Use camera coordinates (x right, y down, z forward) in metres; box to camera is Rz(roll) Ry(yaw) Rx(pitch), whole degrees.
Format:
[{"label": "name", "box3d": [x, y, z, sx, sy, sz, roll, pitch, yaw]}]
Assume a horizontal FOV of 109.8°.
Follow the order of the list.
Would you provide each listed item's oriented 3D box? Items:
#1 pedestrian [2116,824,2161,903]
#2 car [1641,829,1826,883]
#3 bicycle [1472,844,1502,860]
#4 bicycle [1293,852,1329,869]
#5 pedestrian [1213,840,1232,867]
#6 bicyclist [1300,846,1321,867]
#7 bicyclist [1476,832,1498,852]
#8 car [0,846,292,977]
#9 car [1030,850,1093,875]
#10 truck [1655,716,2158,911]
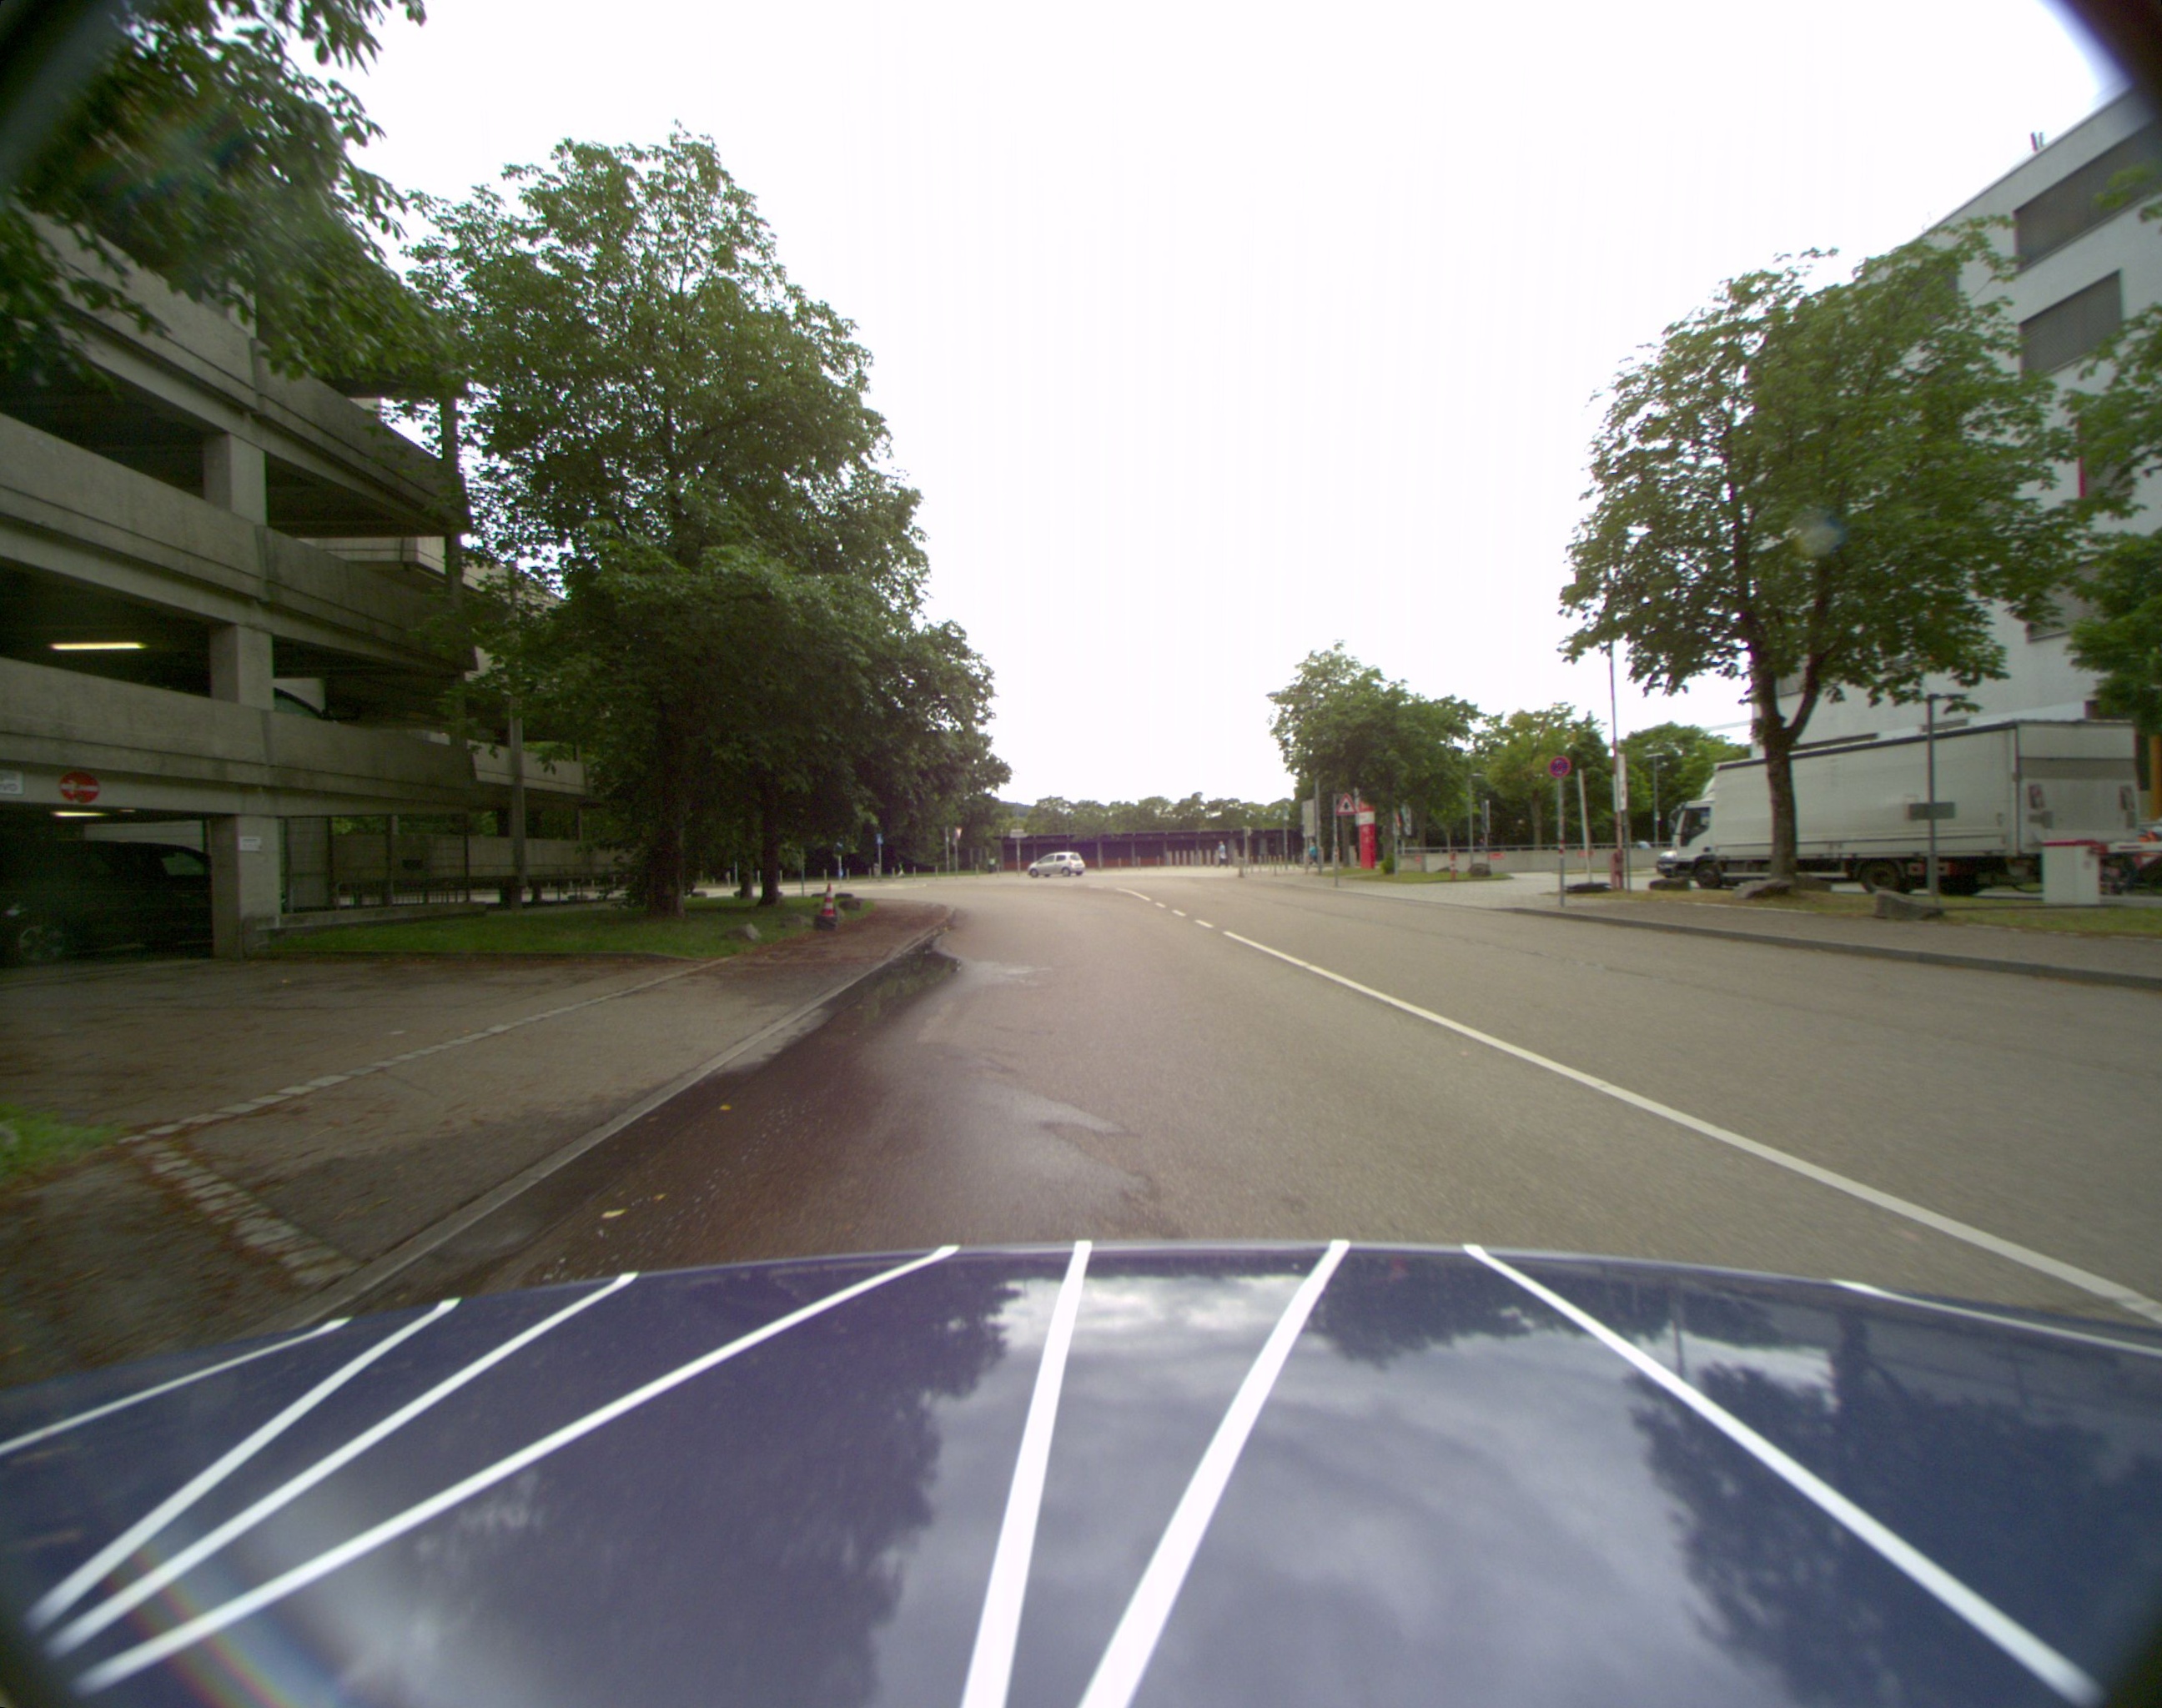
[{"label": "pedestrian", "box3d": [22.114, 0.182, 15.582, 0.680, 1.597, 0.886, -3, 2, -19]}, {"label": "car", "box3d": [23.781, 0.045, 27.799, 5.336, 1.683, 2.097, -2, 1, -7]}, {"label": "bicycle", "box3d": [31.590, -0.198, 59.105, 2.052, 1.137, 0.777, -3, 2, -13]}, {"label": "bicycle", "box3d": [16.226, 0.460, 53.578, 2.257, 1.117, 0.747, -2, 1, -6]}, {"label": "pedestrian", "box3d": [10.143, -0.050, 54.392, 1.199, 1.824, 0.928, -2, 2, 17]}, {"label": "bicyclist", "box3d": [16.164, 0.187, 53.562, 1.159, 1.422, 0.742, -2, 1, -6]}, {"label": "bicyclist", "box3d": [31.556, -0.906, 59.079, 1.102, 1.487, 0.926, -3, 2, -12]}, {"label": "car", "box3d": [-16.098, 0.847, 12.224, 1.924, 1.824, 4.734, -2, 0, -3]}, {"label": "car", "box3d": [-1.198, 0.536, 47.222, 3.494, 1.447, 1.610, -2, 1, 28]}, {"label": "truck", "box3d": [18.756, -0.830, 18.484, 2.685, 3.580, 8.359, -2, 1, -5]}]
